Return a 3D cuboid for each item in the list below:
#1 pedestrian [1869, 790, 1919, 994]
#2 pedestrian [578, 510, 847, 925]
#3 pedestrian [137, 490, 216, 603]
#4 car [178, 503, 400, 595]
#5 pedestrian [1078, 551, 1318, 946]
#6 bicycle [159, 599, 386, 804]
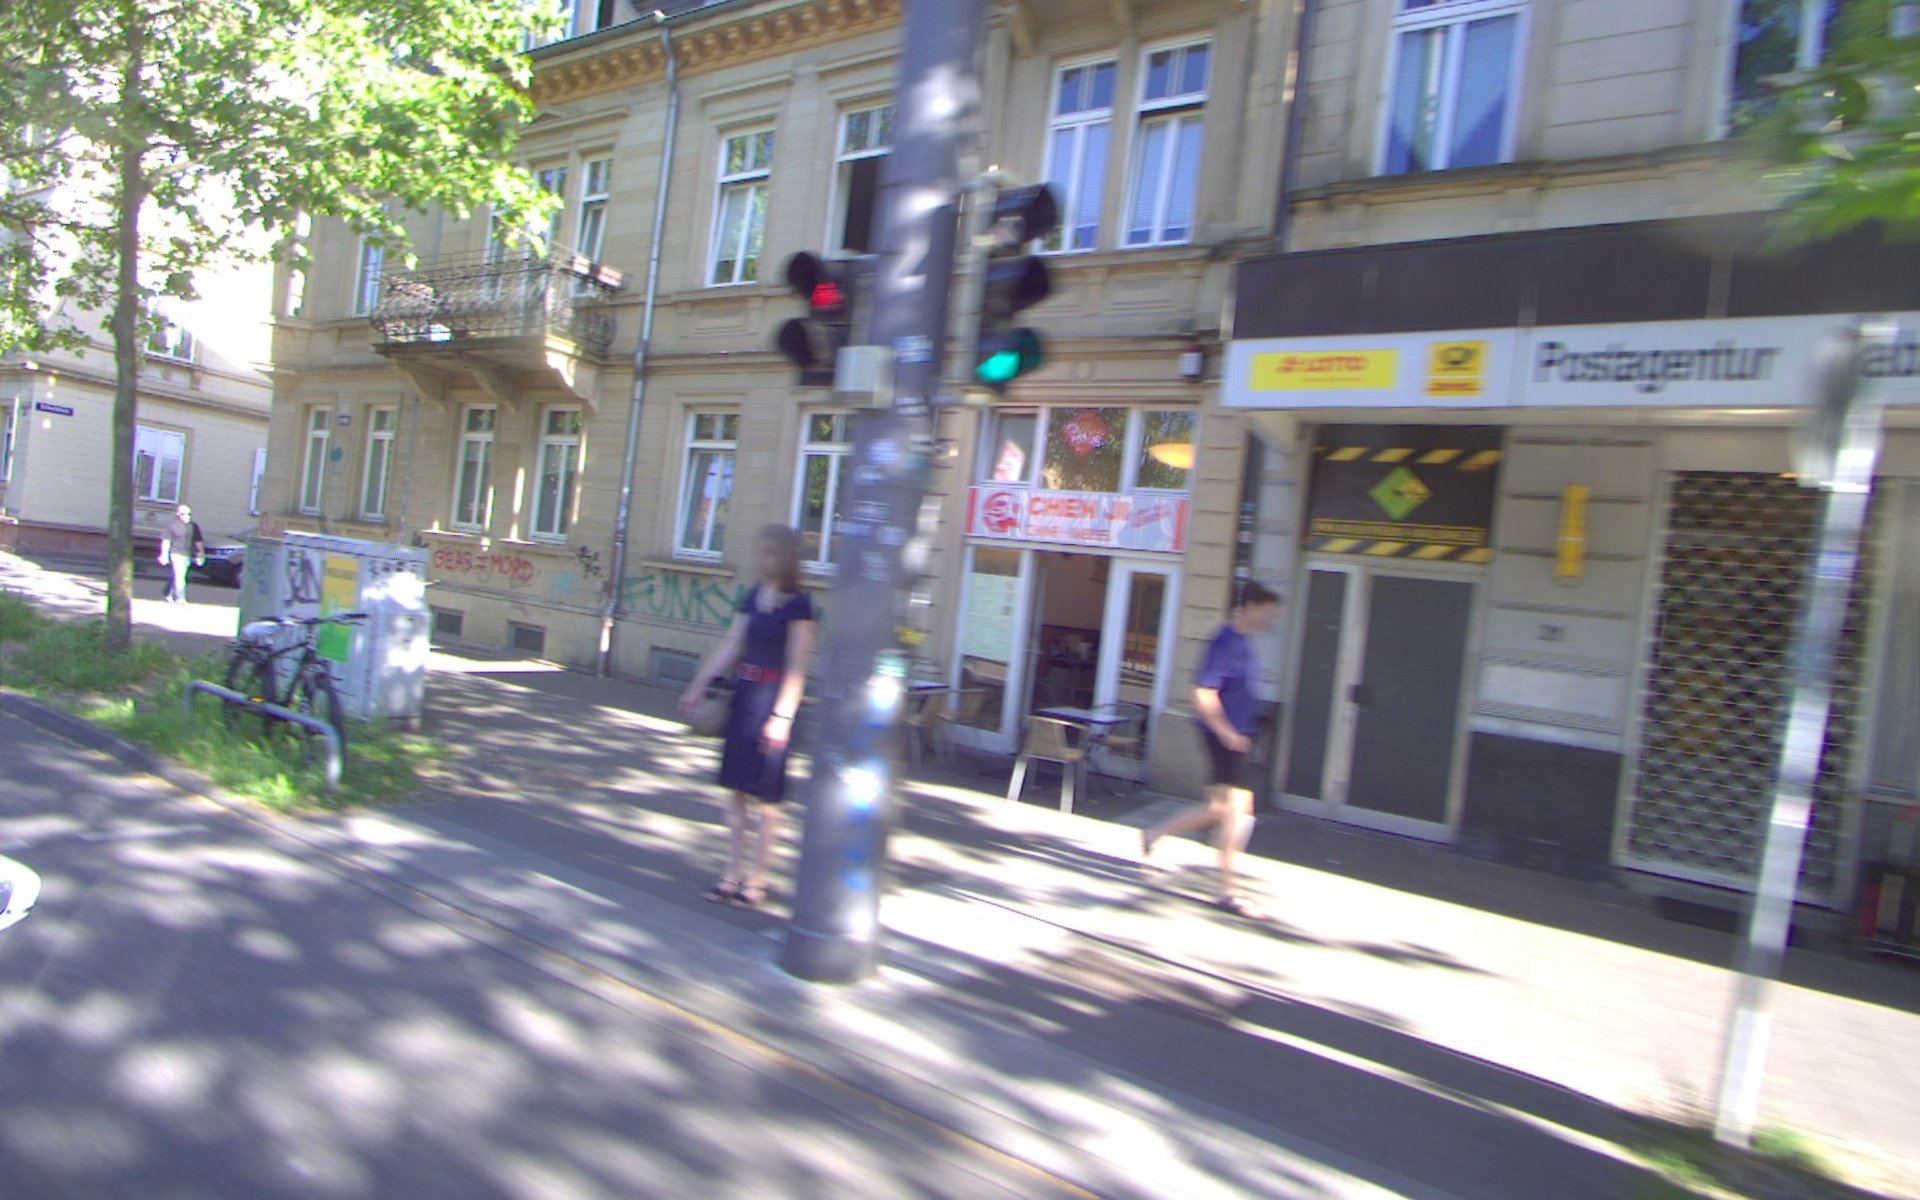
[{"bbox_3d":[6.110,1.812,5.982,0.662,1.174,0.652,9,-1,-5],"label":"pedestrian"},{"bbox_3d":[-1.212,0.529,4.926,0.855,1.792,0.642,8,-1,38],"label":"pedestrian"},{"bbox_3d":[-13.876,-0.952,17.815,0.942,1.848,0.565,8,-1,28],"label":"pedestrian"},{"bbox_3d":[-18.405,-1.352,27.813,1.890,1.794,4.587,8,-1,34],"label":"car"},{"bbox_3d":[1.420,0.823,5.930,0.843,2.037,0.883,8,-1,35],"label":"pedestrian"},{"bbox_3d":[-4.413,0.606,6.414,1.721,0.981,0.428,8,-1,32],"label":"bicycle"}]
